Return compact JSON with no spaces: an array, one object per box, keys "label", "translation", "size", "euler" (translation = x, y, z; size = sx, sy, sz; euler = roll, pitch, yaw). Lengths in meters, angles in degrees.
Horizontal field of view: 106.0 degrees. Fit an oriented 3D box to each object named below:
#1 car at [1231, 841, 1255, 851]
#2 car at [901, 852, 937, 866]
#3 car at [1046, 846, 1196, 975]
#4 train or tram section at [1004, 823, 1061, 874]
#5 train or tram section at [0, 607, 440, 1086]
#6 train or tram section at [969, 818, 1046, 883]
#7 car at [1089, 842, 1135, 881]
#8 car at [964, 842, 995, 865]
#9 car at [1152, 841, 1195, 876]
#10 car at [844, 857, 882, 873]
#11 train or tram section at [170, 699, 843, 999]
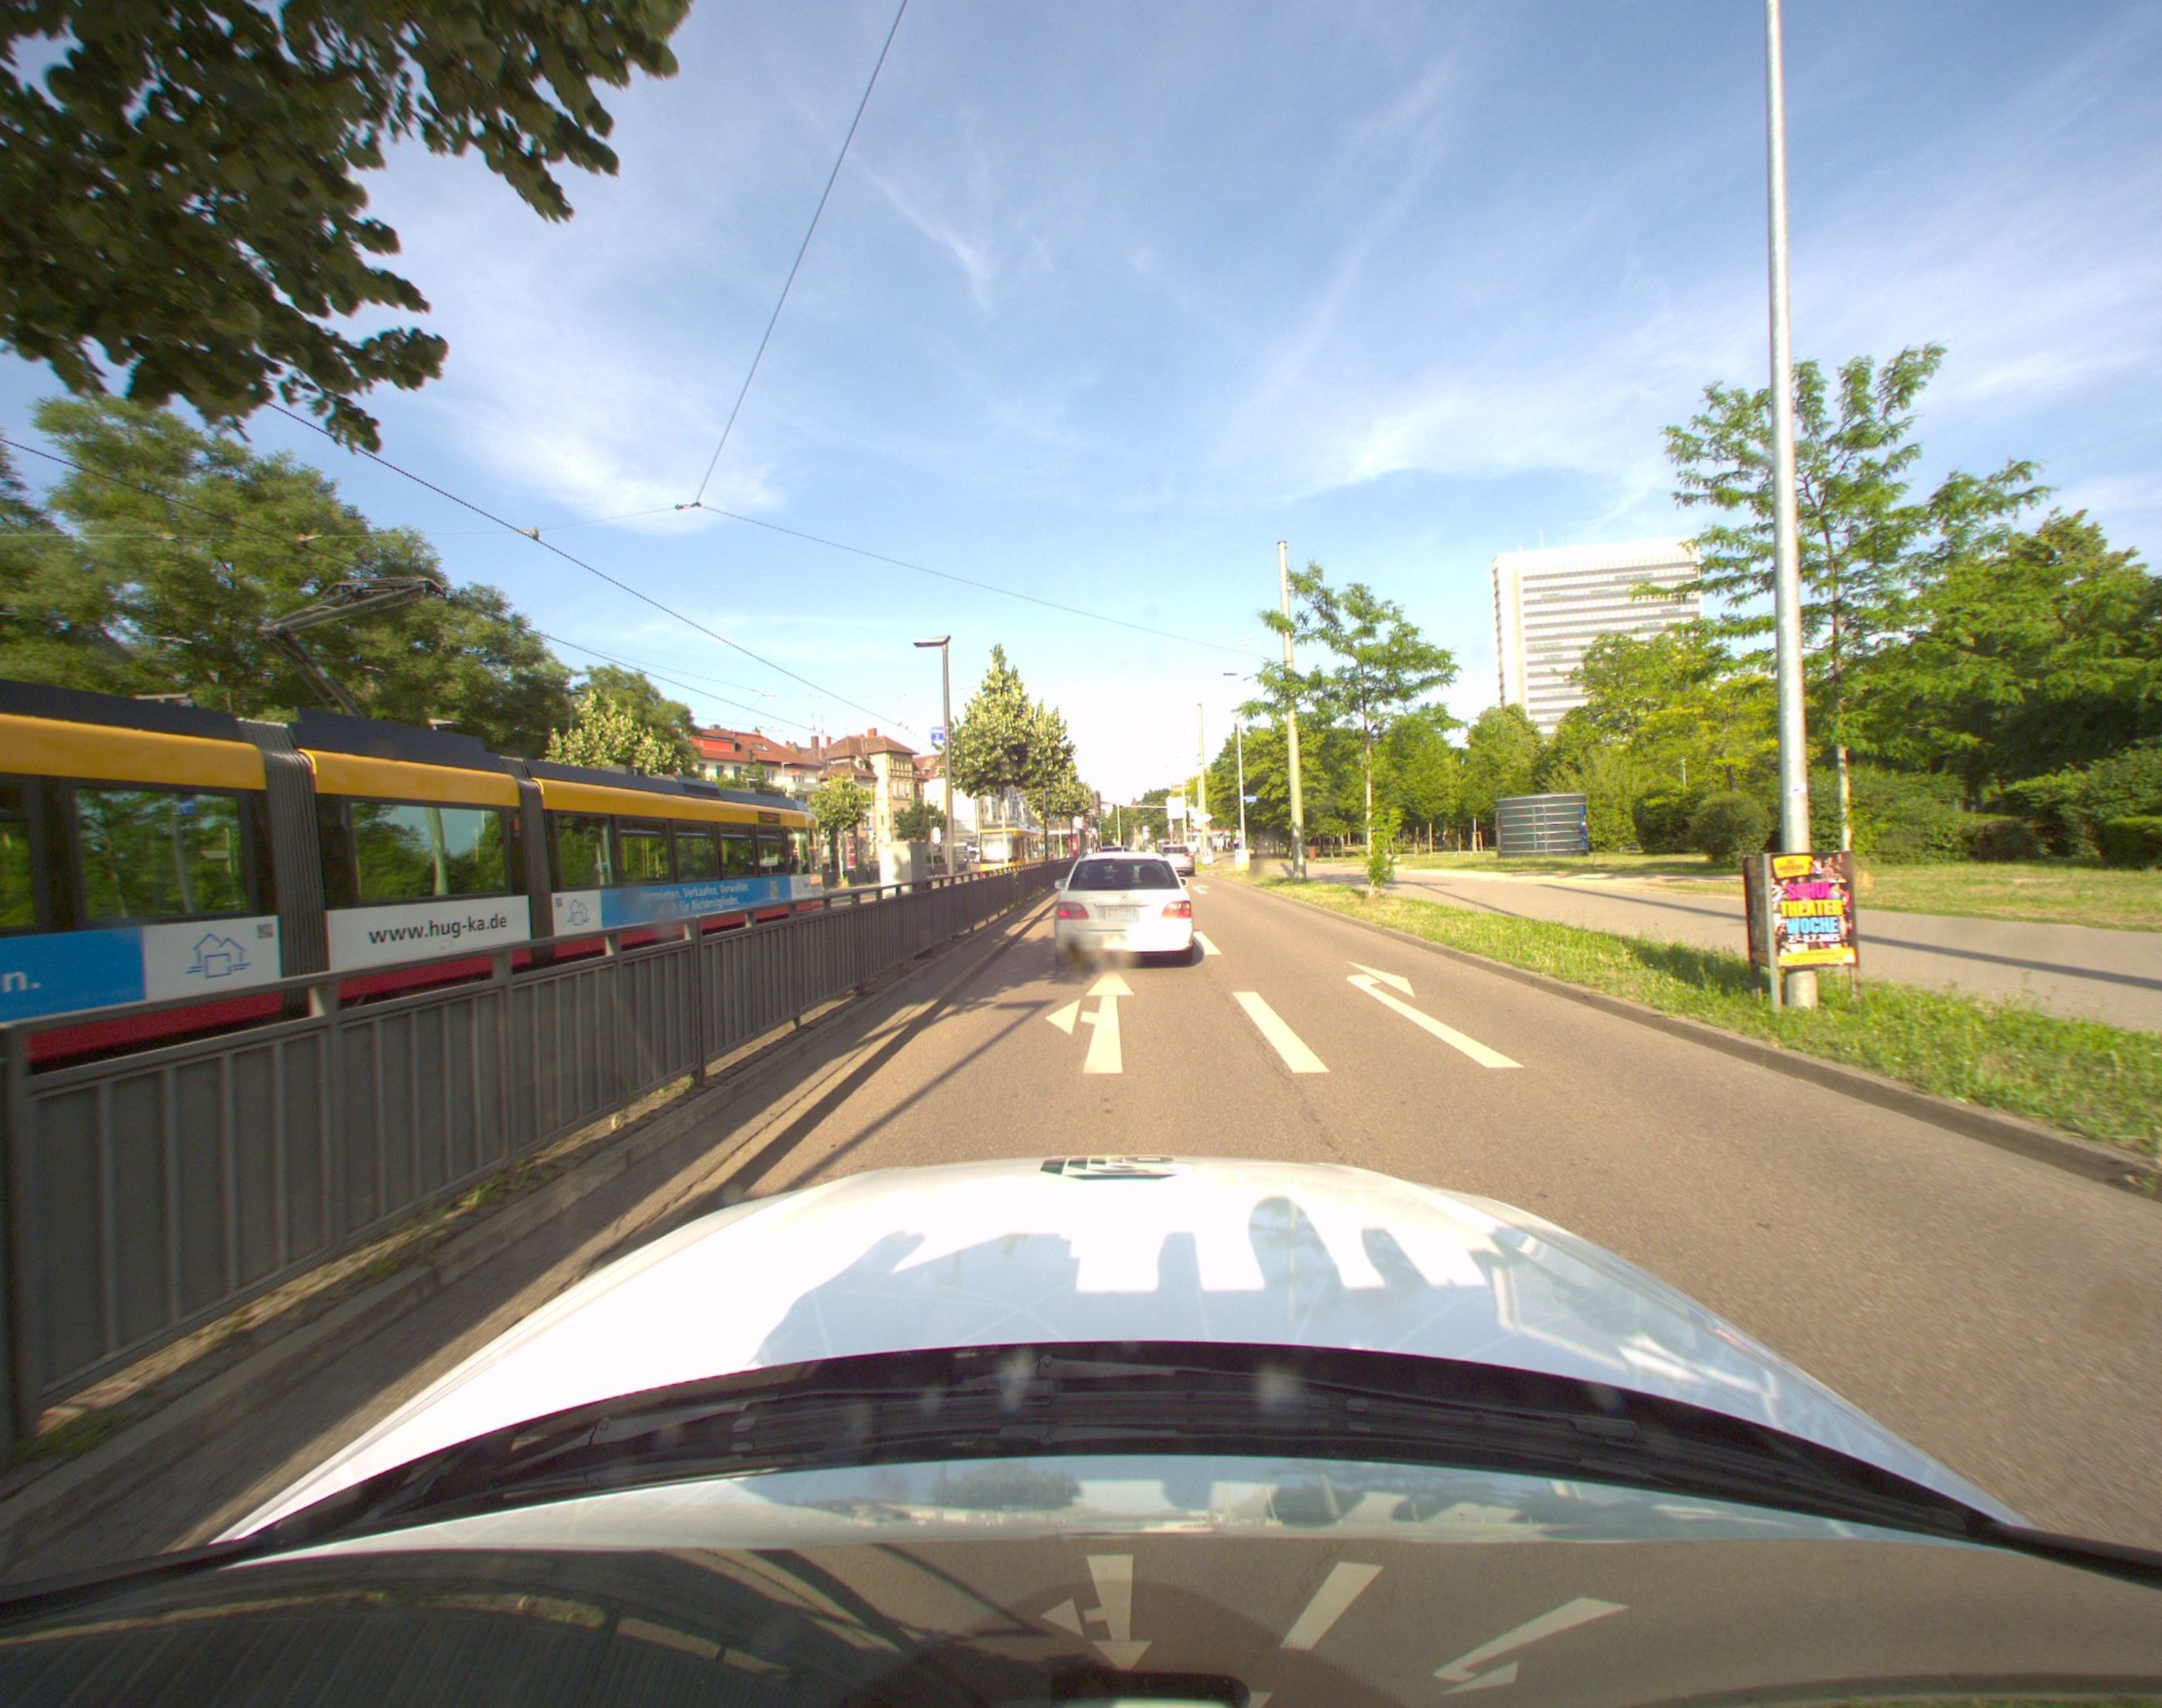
[{"label":"car","translation":[29.769,-1.507,149.575],"size":[3.949,1.651,2.012],"euler":[-3,0,28]},{"label":"car","translation":[-21.443,0.655,107.762],"size":[2.183,1.628,4.745],"euler":[-2,1,26]},{"label":"car","translation":[0.668,0.728,11.559],"size":[1.749,1.504,4.006],"euler":[-1,-2,6]},{"label":"train or tram section","translation":[-3.560,-0.494,63.714],"size":[2.838,3.479,13.211],"euler":[-2,1,3]},{"label":"train or tram section","translation":[-9.568,0.027,2.462],"size":[3.149,3.479,14.542],"euler":[-2,1,2]},{"label":"train or tram section","translation":[-4.242,-0.280,50.699],"size":[2.838,3.479,13.211],"euler":[-1,1,3]},{"label":"car","translation":[1.519,0.312,38.626],"size":[1.778,1.689,4.008],"euler":[-2,1,7]},{"label":"car","translation":[-12.558,-0.082,101.116],"size":[2.586,2.735,7.473],"euler":[-2,1,2]},{"label":"car","translation":[4.713,0.197,41.283],"size":[2.022,1.605,4.008],"euler":[-2,1,7]},{"label":"car","translation":[-26.453,1.339,98.725],"size":[3.953,1.750,2.010],"euler":[-2,0,20]},{"label":"train or tram section","translation":[-8.986,-0.141,16.962],"size":[3.149,3.479,14.481],"euler":[-2,1,2]}]
